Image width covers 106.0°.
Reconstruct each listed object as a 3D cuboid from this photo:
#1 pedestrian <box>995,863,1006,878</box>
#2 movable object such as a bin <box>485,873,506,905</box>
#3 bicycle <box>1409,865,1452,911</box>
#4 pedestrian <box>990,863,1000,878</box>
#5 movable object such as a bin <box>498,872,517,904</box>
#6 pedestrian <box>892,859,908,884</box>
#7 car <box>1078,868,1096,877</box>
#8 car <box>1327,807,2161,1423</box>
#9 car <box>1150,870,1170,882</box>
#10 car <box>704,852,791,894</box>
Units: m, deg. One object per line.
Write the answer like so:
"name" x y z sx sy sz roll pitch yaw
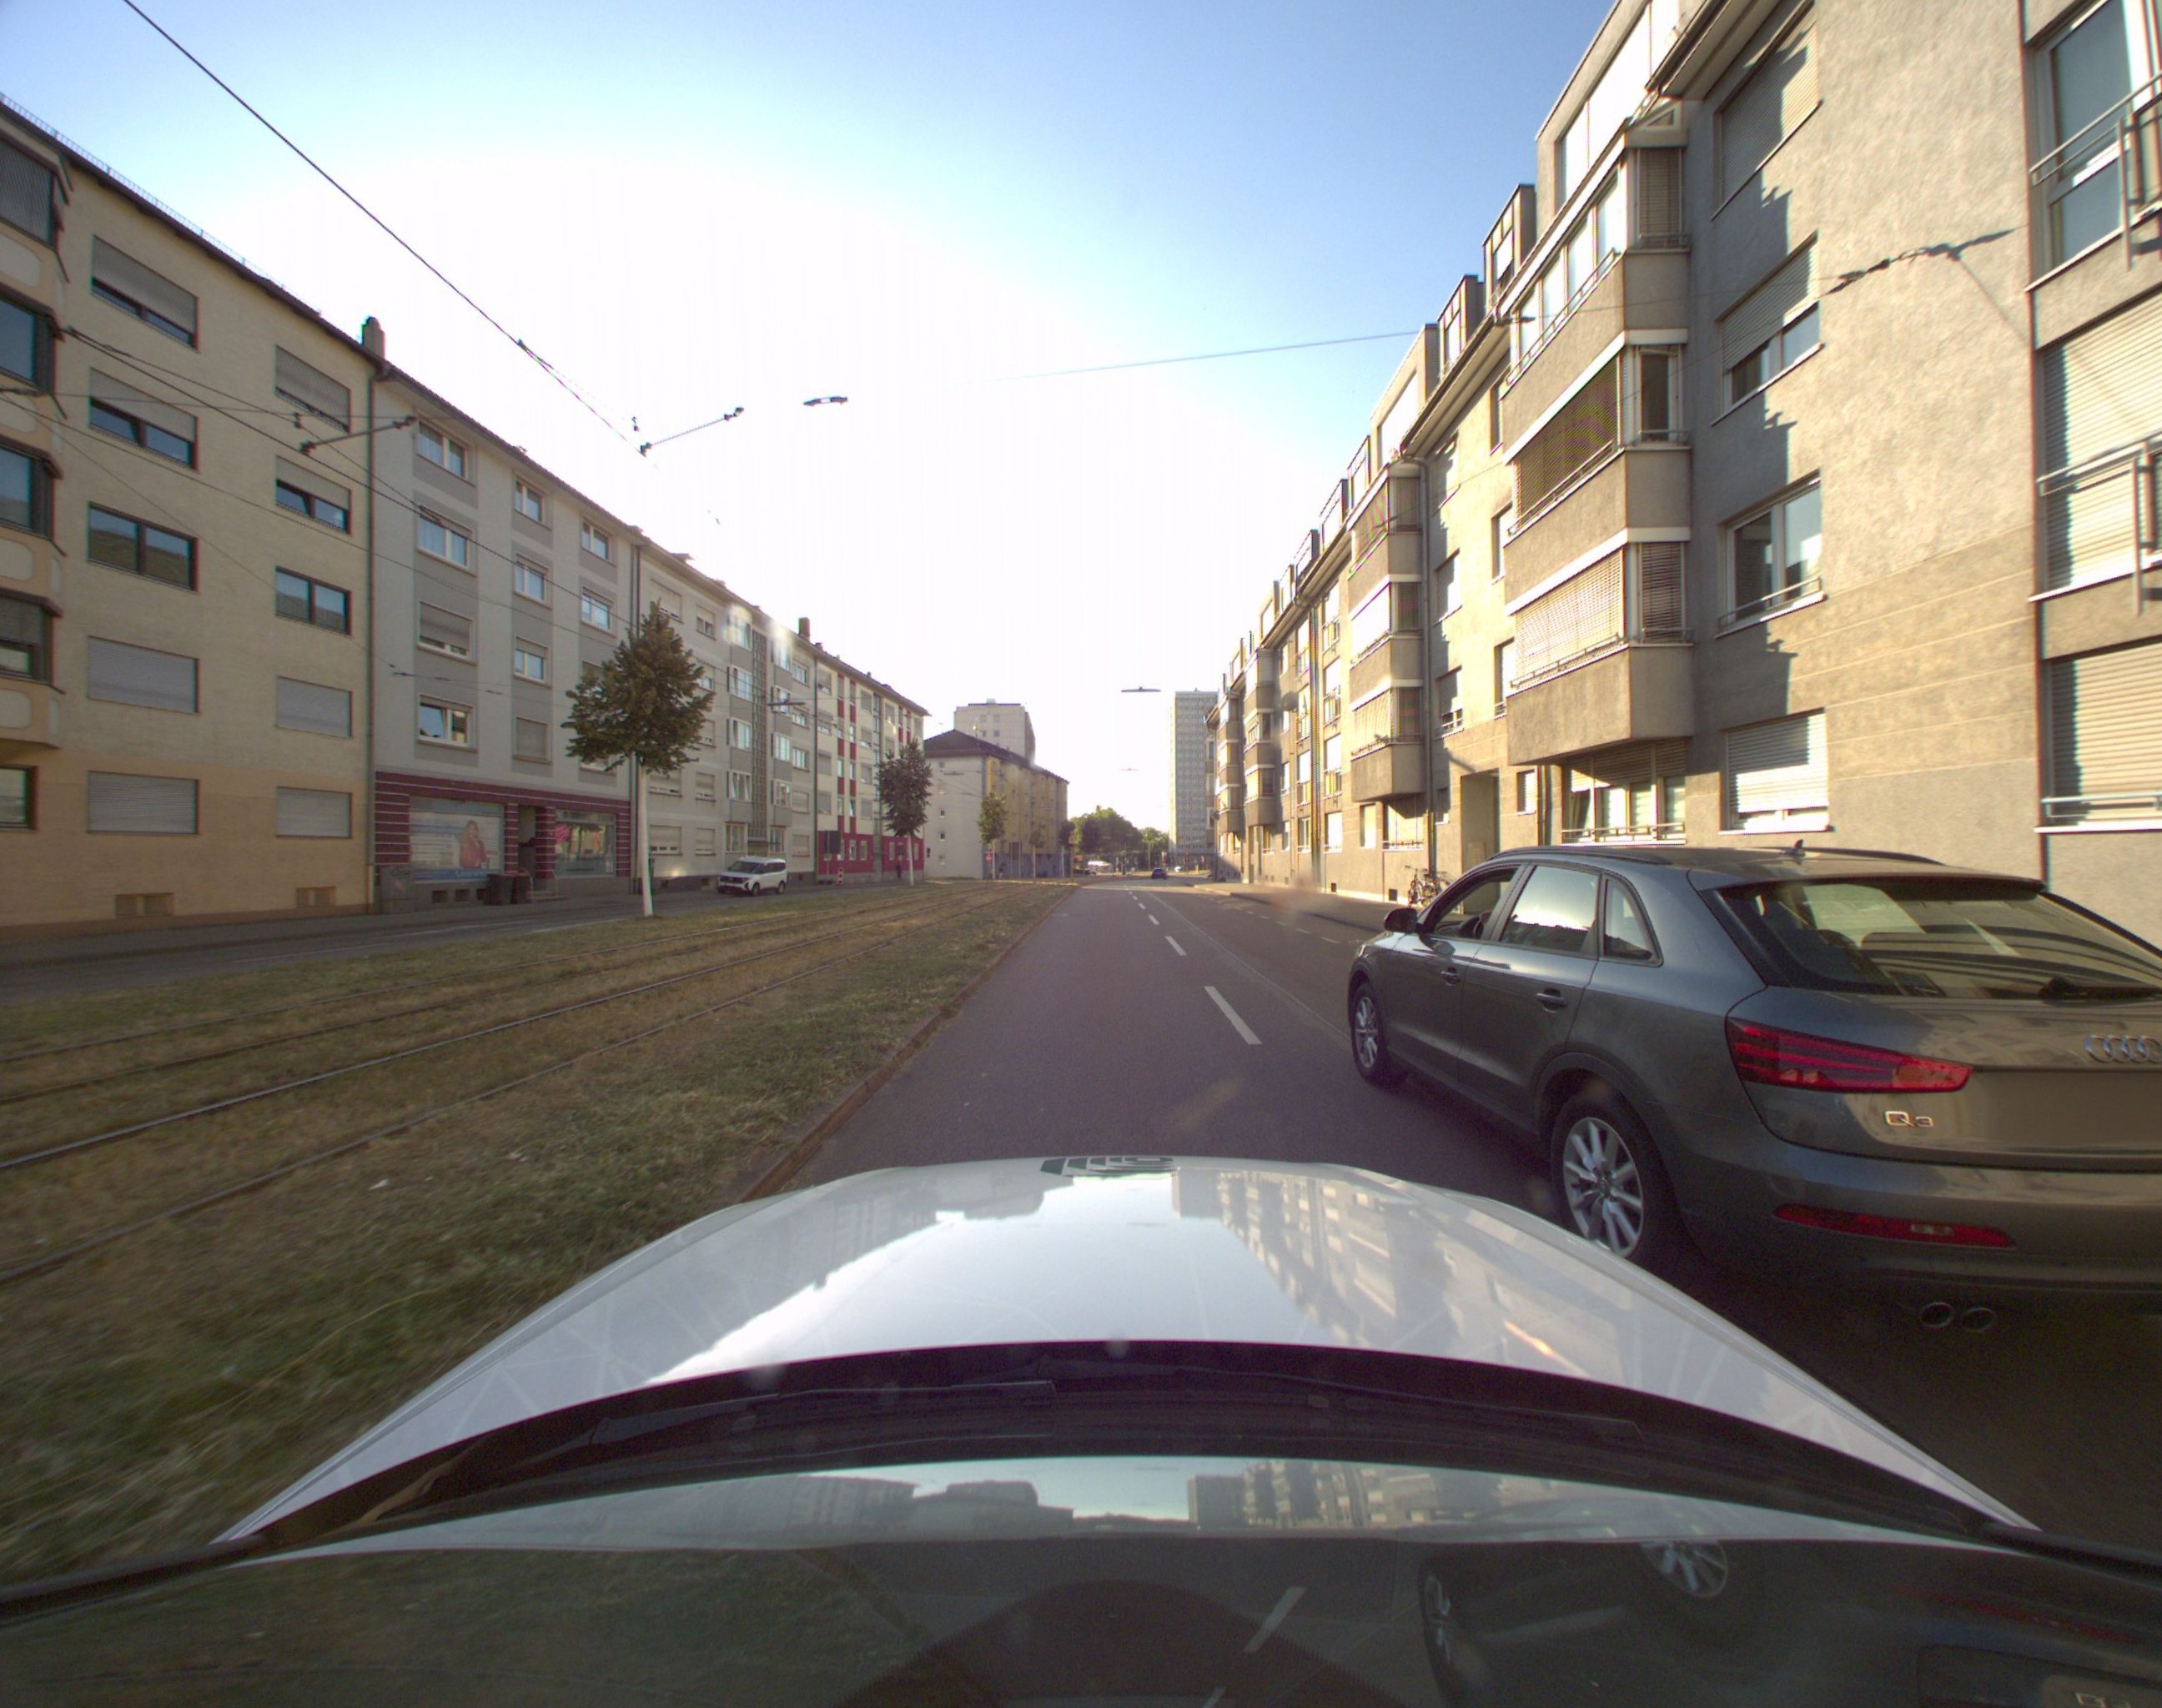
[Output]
"pedestrian" -9.503 1.937 96.250 0.957 1.670 1.013 1 -1 7
"movable object such as a bin" -19.241 1.142 26.766 0.297 1.036 0.441 1 -1 1
"bicycle" 8.544 0.814 19.970 0.382 1.096 1.503 -1 -1 0
"pedestrian" -10.178 1.945 96.421 0.957 1.694 1.013 1 -1 7
"movable object such as a bin" -19.198 1.140 27.261 0.297 1.036 0.441 1 -1 1
"pedestrian" -15.131 1.486 68.068 1.000 2.036 0.887 1 -1 6
"car" 1.449 4.393 189.251 3.966 2.014 2.004 -1 -1 7
"car" 2.685 0.720 4.197 1.691 1.553 4.226 1 -2 2
"car" 10.115 2.753 104.156 1.913 1.456 4.343 1 -1 14
"car" -16.271 0.927 39.995 1.983 1.925 4.549 1 -1 6
